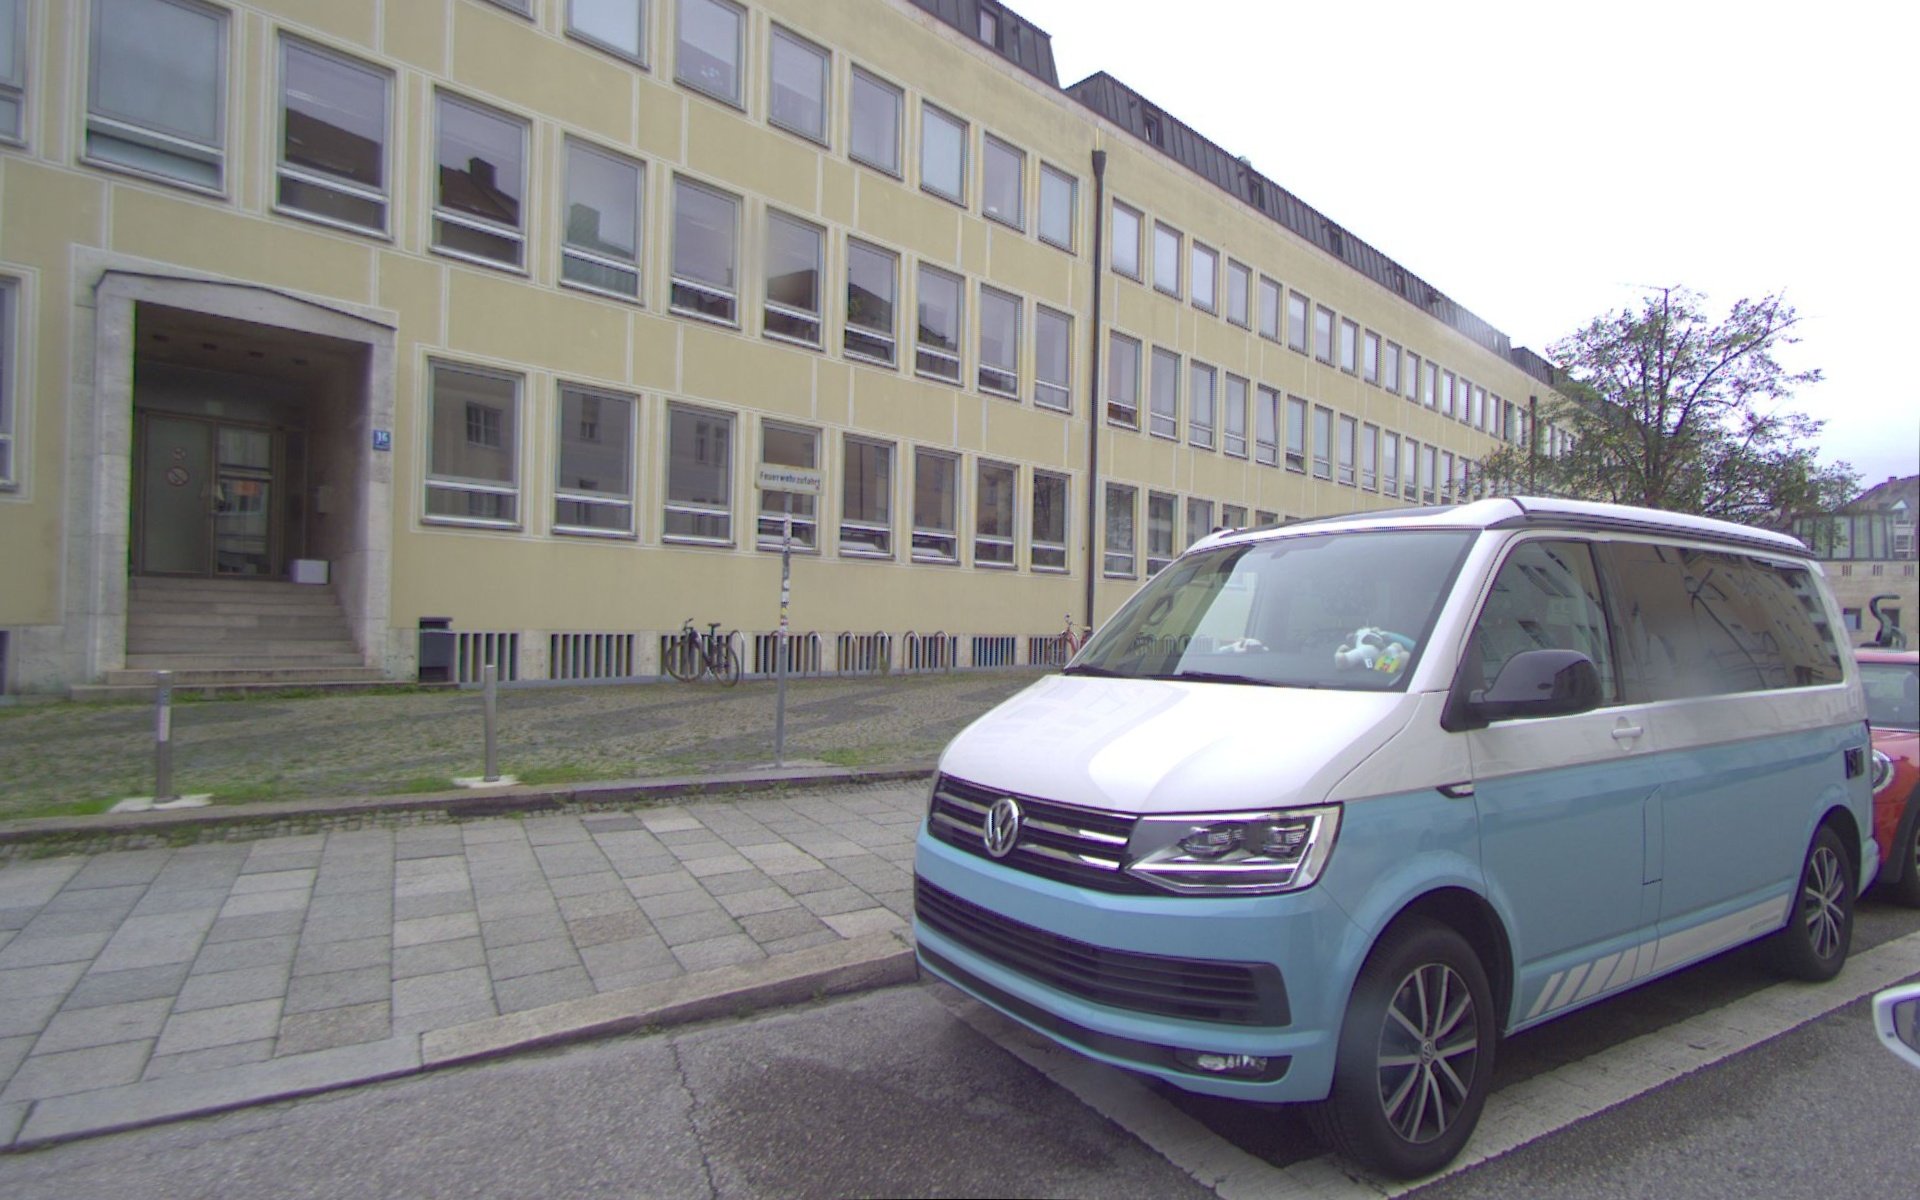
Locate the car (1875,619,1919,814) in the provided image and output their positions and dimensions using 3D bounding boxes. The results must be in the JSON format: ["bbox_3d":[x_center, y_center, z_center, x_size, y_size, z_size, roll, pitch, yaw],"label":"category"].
[{"bbox_3d":[10.481,1.062,9.405,4.093,1.711,1.706,2,-3,-31],"label":"car"}]

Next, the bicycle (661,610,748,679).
[{"bbox_3d":[-3.912,0.665,15.350,1.387,0.957,0.413,2,0,32],"label":"bicycle"}]

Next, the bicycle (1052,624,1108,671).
[{"bbox_3d":[2.684,1.052,22.527,0.410,0.957,1.398,2,0,-33],"label":"bicycle"}]

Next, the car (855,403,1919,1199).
[{"bbox_3d":[2.159,0.648,4.375,4.910,1.985,1.904,2,-3,-34],"label":"car"}]

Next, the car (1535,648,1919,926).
[{"bbox_3d":[5.883,1.052,6.892,3.666,1.425,1.796,2,-3,-31],"label":"car"}]

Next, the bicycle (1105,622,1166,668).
[{"bbox_3d":[4.033,1.019,23.137,0.411,0.957,1.394,2,0,-42],"label":"bicycle"}]
